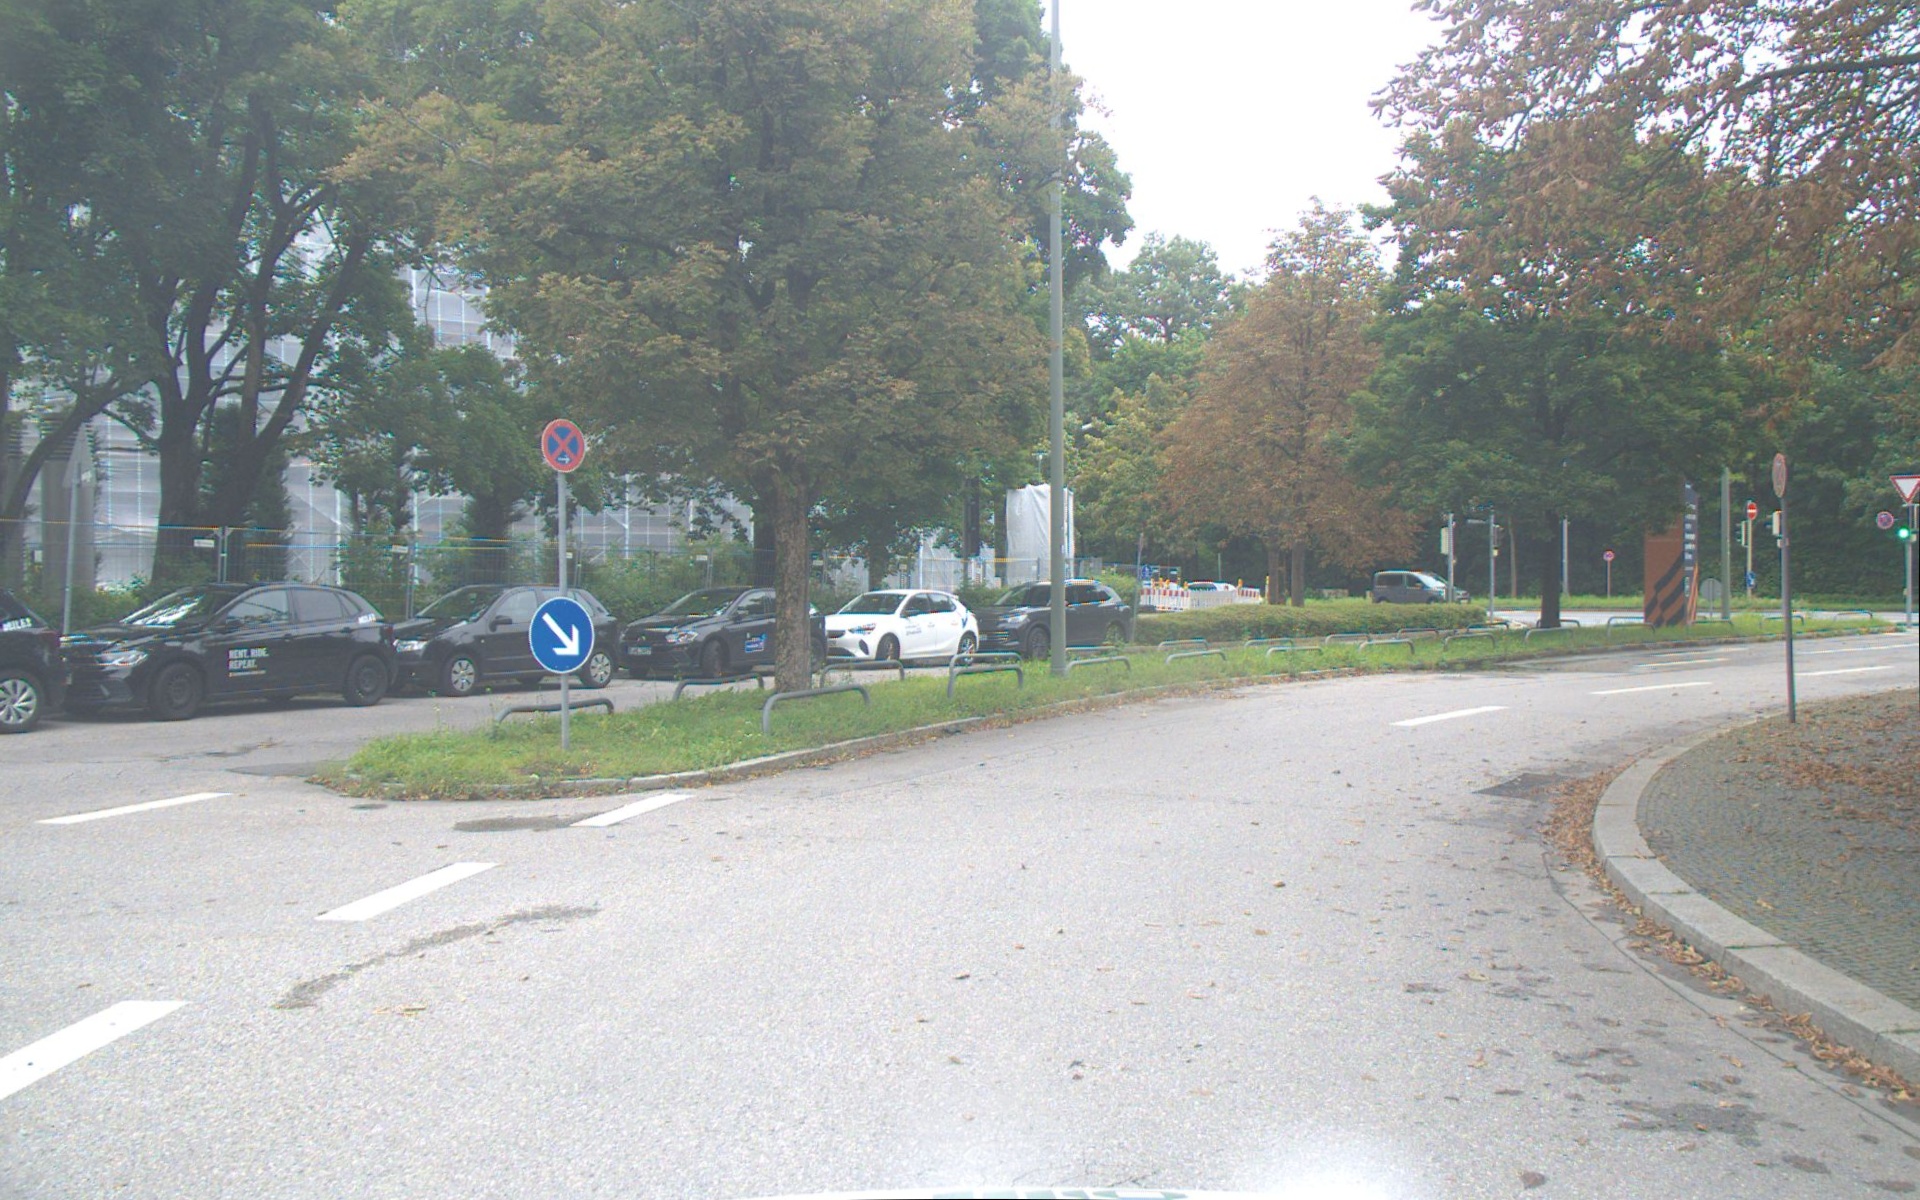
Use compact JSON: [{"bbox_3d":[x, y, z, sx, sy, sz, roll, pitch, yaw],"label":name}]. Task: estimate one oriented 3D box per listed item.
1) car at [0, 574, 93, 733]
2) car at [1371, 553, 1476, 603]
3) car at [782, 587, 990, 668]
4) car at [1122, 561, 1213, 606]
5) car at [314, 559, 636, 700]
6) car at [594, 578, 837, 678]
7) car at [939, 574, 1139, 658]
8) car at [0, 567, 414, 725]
[{"bbox_3d":[-10.409,0.497,15.072,1.957,1.457,4.033,2,1,31],"label":"car"},{"bbox_3d":[19.679,-0.938,70.327,1.981,2.049,3.943,0,1,-39],"label":"car"},{"bbox_3d":[-1.310,0.471,30.920,1.764,1.408,4.206,-1,0,33],"label":"car"},{"bbox_3d":[9.842,-0.782,78.778,1.981,2.049,4.098,0,1,-39],"label":"car"},{"bbox_3d":[-6.527,0.364,22.651,1.957,1.736,3.991,-1,0,31],"label":"car"},{"bbox_3d":[-3.882,0.420,26.898,1.800,1.486,3.997,-1,0,31],"label":"car"},{"bbox_3d":[1.705,0.370,34.533,1.858,1.634,4.370,-1,-2,42],"label":"car"},{"bbox_3d":[-8.410,0.446,18.644,1.957,1.568,3.991,0,0,31],"label":"car"}]
